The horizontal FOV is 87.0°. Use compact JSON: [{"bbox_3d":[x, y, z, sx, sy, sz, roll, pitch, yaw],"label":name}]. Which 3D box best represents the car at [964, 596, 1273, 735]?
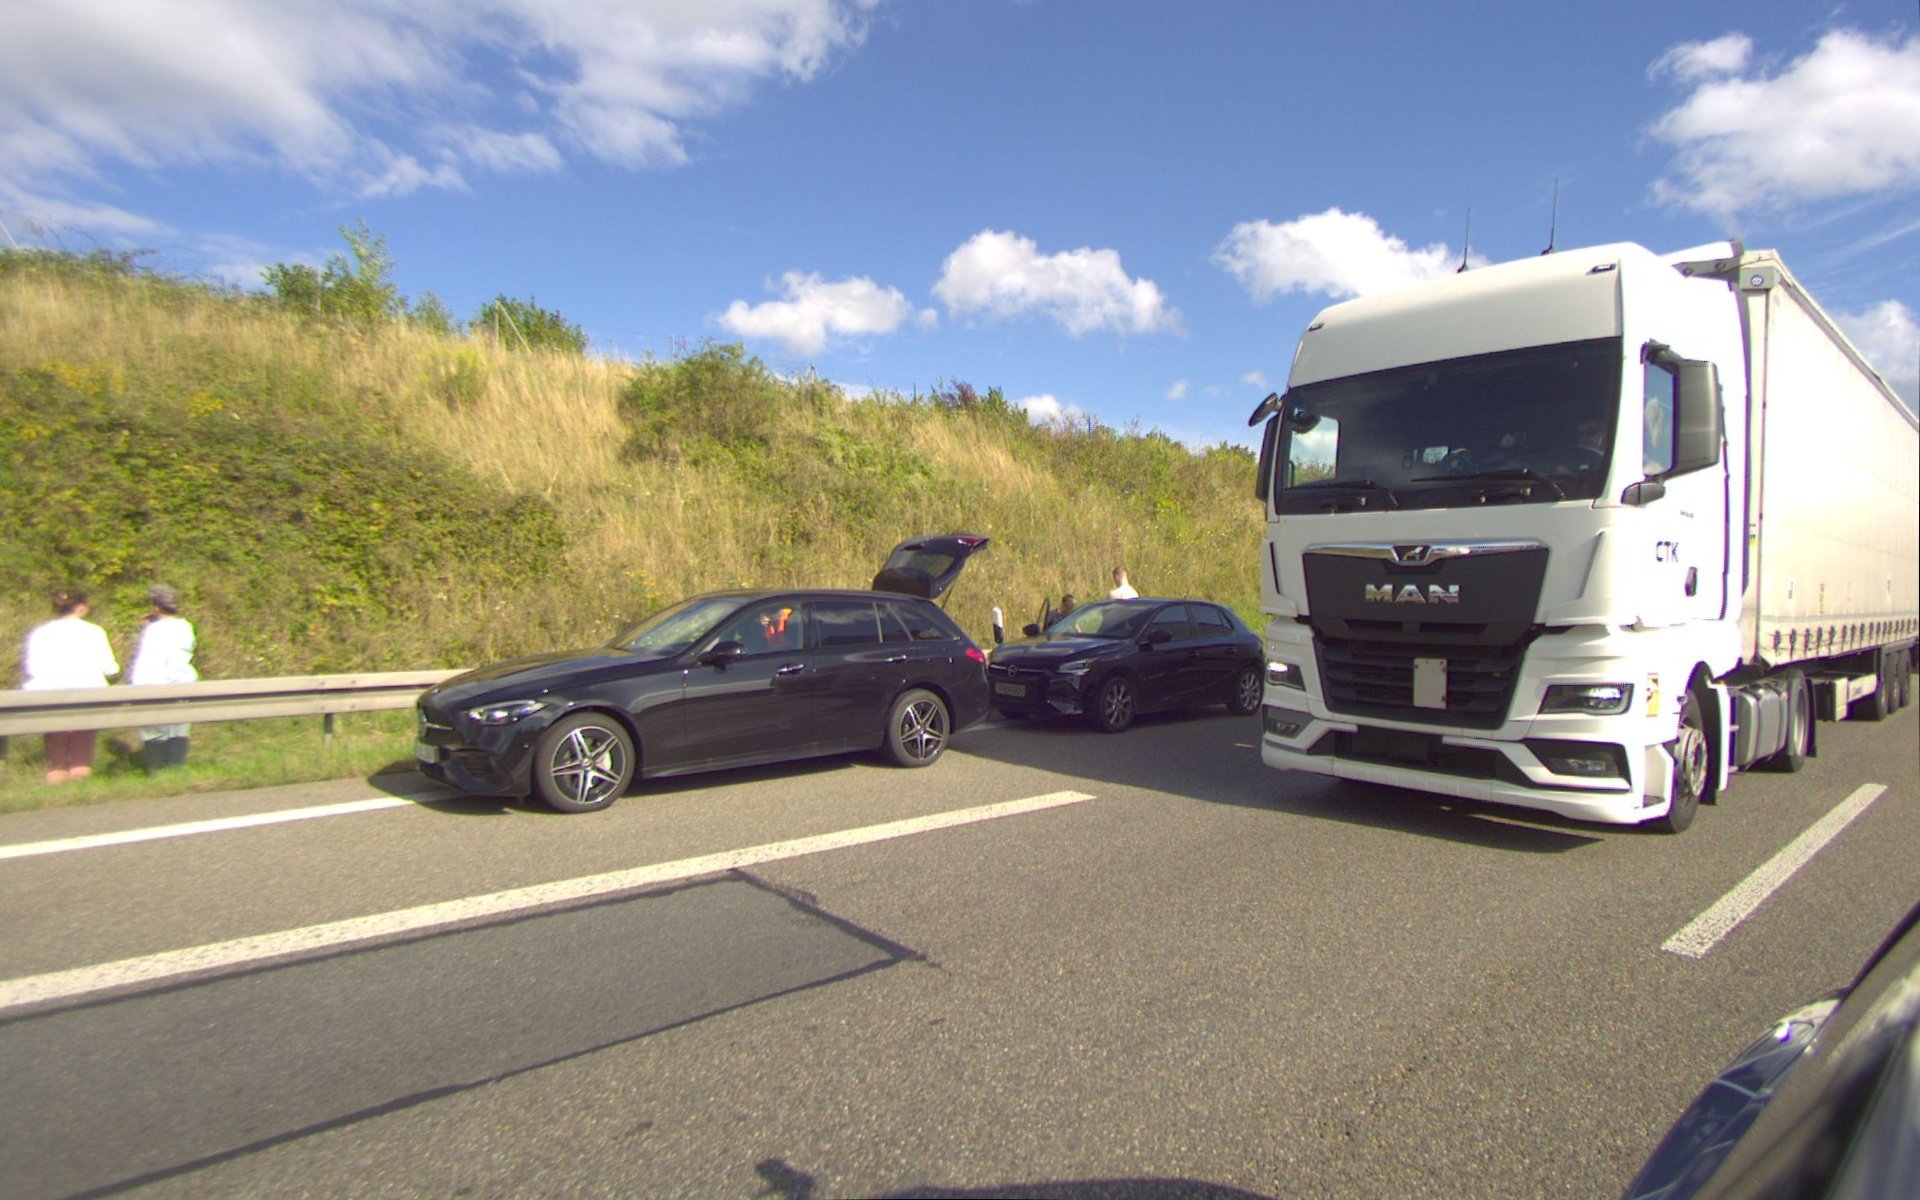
[{"bbox_3d":[1.948,0.646,11.842,3.673,1.369,1.635,0,0,-42],"label":"car"}]

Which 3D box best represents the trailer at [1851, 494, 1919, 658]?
[{"bbox_3d":[27.863,-0.628,28.347,13.161,3.917,2.666,-1,0,-41],"label":"trailer"}]

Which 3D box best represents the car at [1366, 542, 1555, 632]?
[{"bbox_3d":[8.609,-0.207,17.298,3.673,1.369,1.663,0,0,-42],"label":"car"}]

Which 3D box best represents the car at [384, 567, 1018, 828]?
[{"bbox_3d":[-1.838,0.559,8.213,4.656,1.532,1.903,0,0,-42],"label":"car"}]

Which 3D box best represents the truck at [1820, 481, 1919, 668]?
[{"bbox_3d":[22.467,-0.563,23.621,6.874,3.917,2.651,-1,0,-41],"label":"truck"}]

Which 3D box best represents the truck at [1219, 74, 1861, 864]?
[{"bbox_3d":[5.114,-0.726,8.366,6.251,4.110,2.713,-1,1,-41],"label":"truck"}]

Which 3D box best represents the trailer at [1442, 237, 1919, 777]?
[{"bbox_3d":[10.356,-0.751,12.969,12.718,4.133,2.707,0,1,-41],"label":"trailer"}]
